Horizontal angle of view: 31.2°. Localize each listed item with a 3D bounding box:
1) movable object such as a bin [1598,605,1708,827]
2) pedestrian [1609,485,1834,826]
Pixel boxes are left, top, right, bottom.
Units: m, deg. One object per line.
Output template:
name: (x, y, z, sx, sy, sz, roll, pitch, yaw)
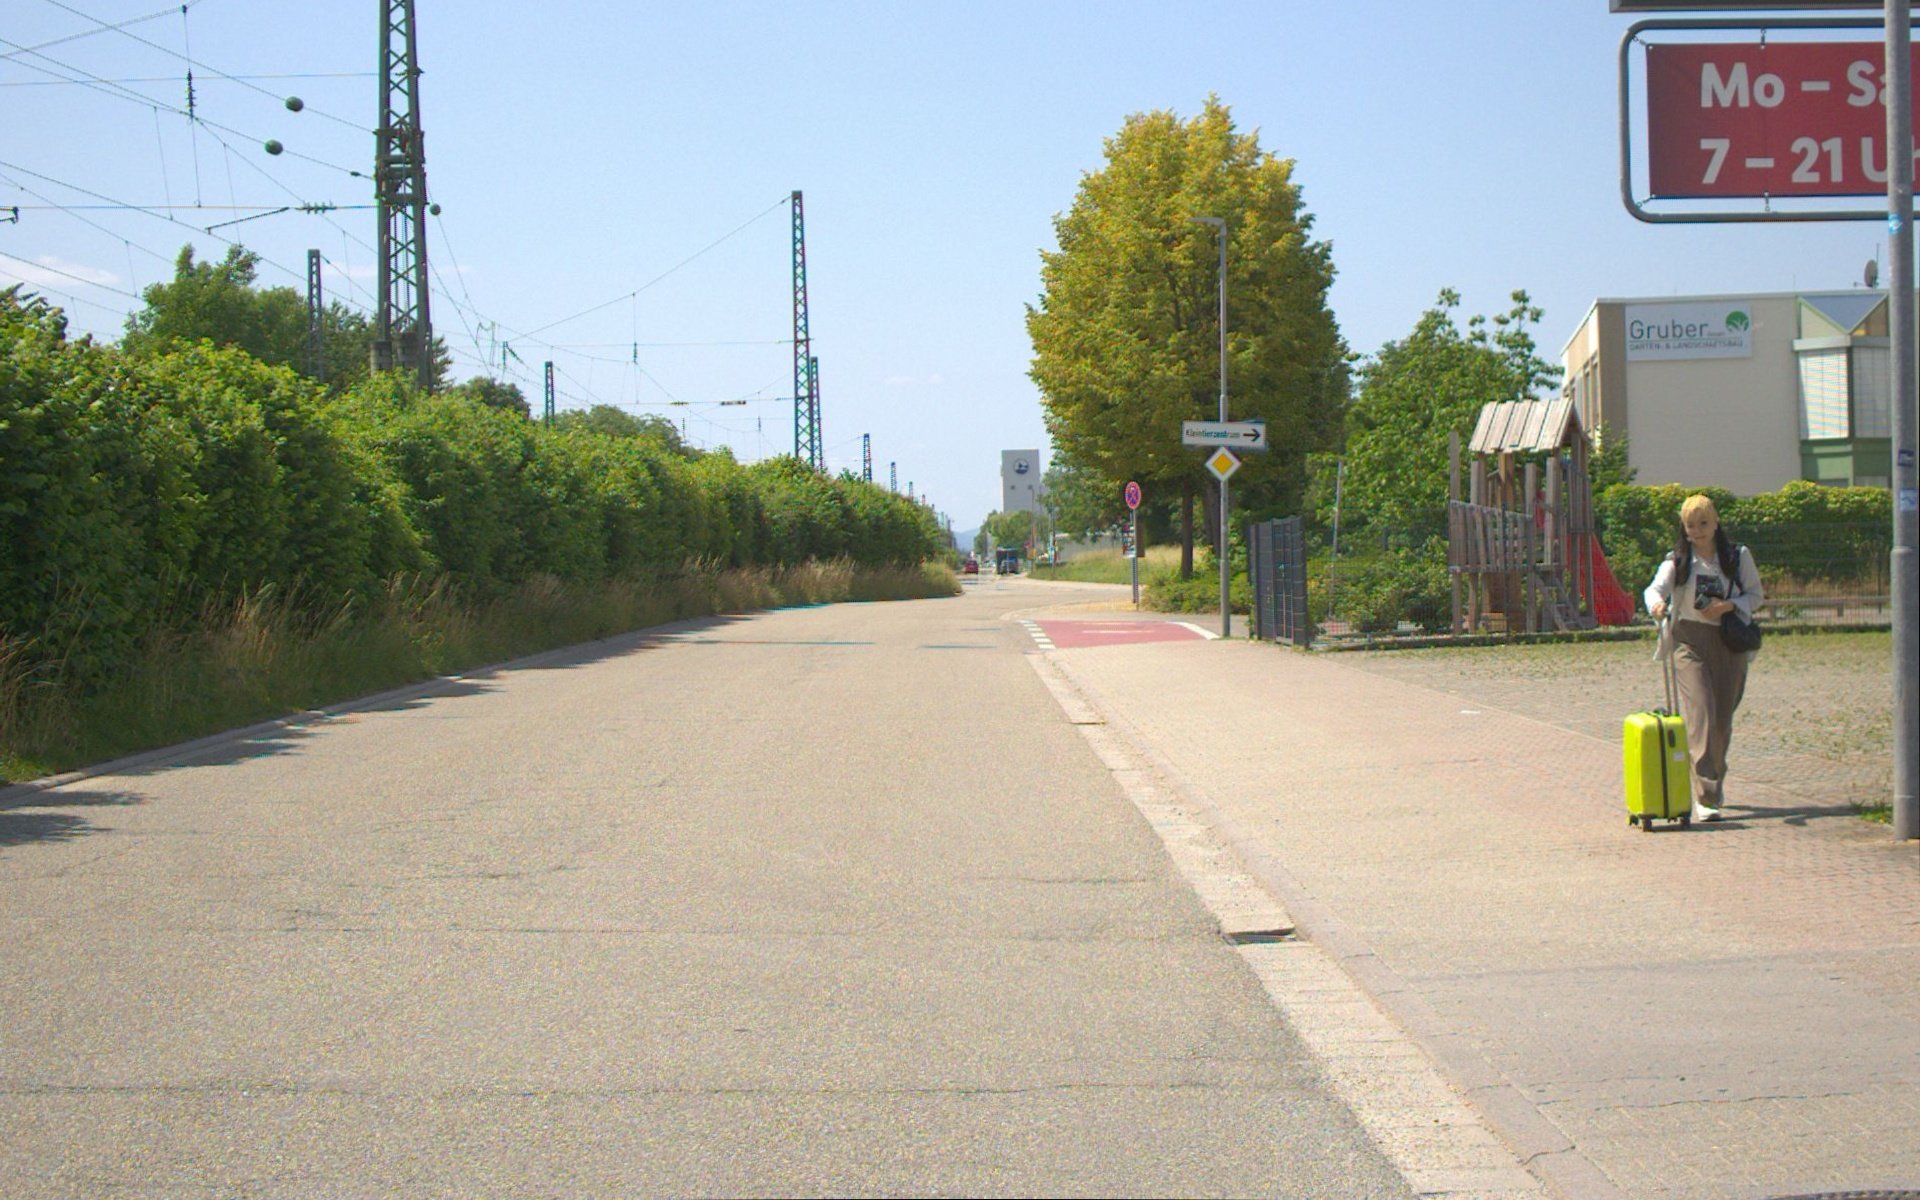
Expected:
movable object such as a bin: (3.305, 0.546, 16.419, 0.374, 1.026, 0.499, -2, 1, -4)
pedestrian: (3.701, 0.251, 16.787, 0.761, 1.596, 1.210, -1, 1, -3)
